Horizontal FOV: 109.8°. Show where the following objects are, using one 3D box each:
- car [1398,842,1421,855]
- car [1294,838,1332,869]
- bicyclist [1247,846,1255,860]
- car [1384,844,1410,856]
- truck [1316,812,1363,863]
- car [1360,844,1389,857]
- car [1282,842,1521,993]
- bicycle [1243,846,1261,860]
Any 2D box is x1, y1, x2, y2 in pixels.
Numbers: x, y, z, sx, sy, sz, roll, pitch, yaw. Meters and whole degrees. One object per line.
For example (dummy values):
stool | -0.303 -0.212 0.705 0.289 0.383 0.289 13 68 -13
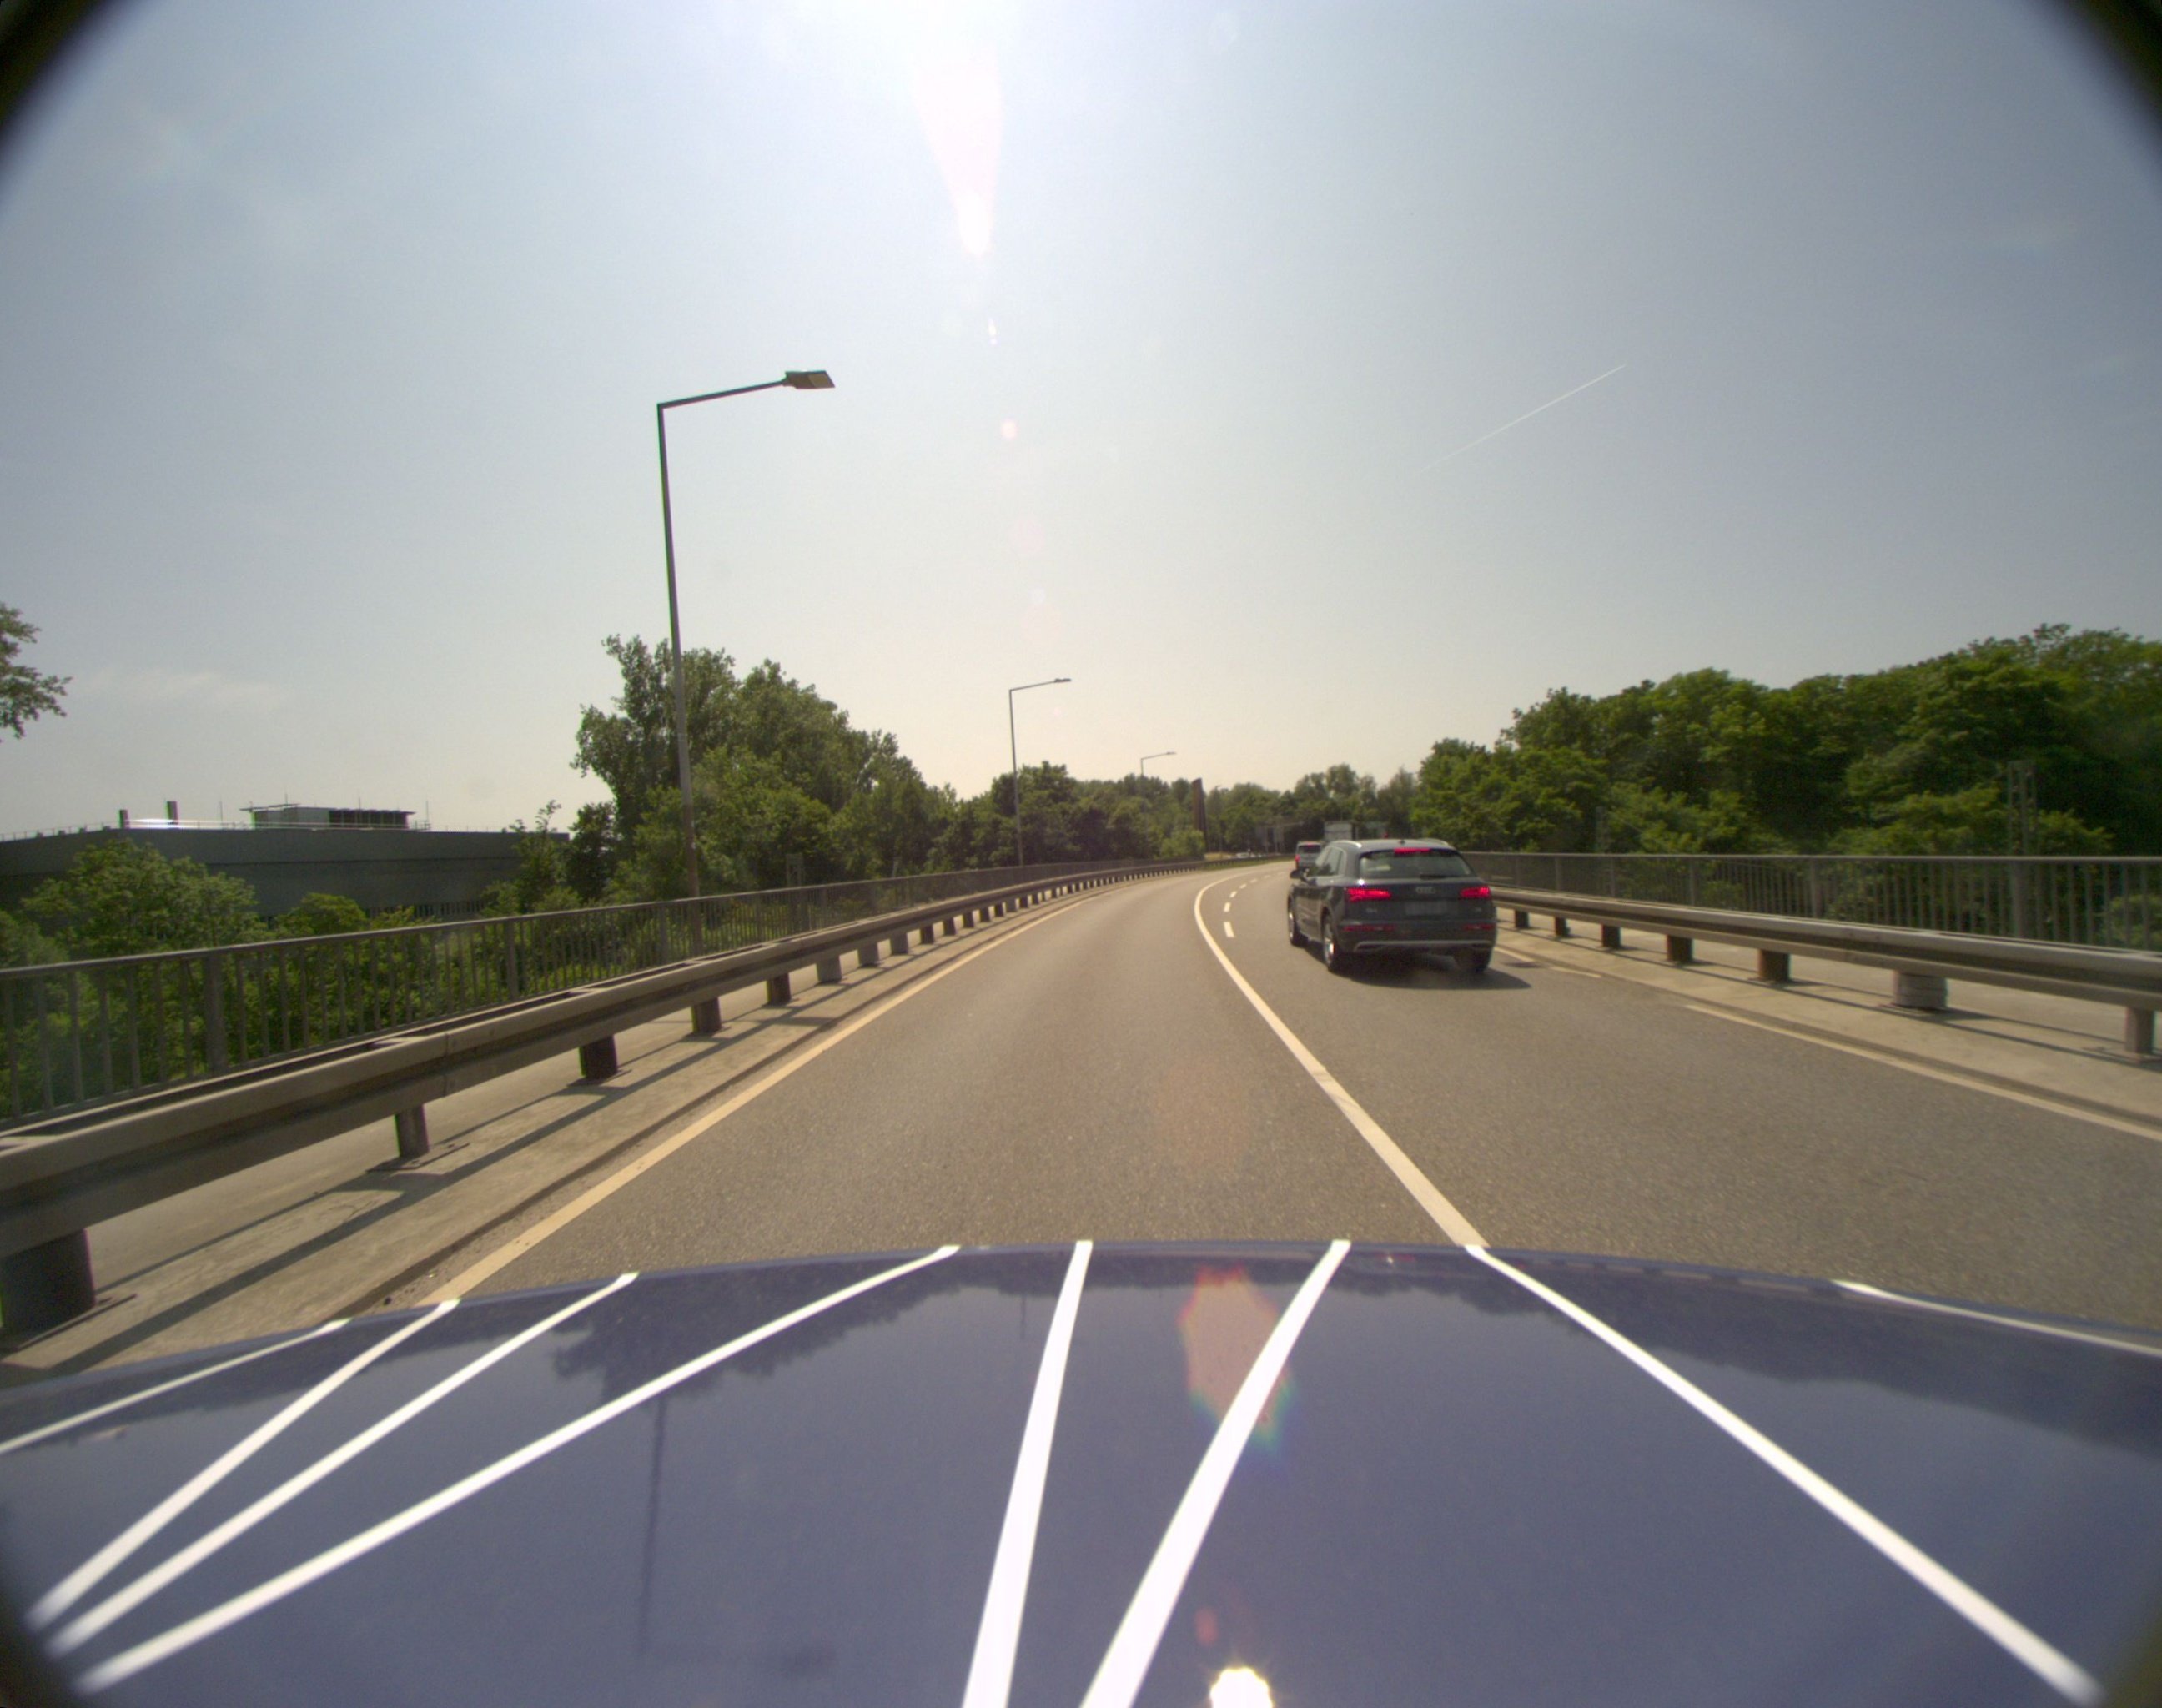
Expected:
car | 43.089 -0.720 99.670 1.828 1.629 4.587 -1 1 36
car | 15.658 -0.054 51.182 1.862 1.988 4.821 -1 0 23
bicyclist | 20.380 -0.123 91.075 0.671 1.589 0.690 -2 0 -28
car | 39.262 -0.542 94.377 1.828 1.398 4.556 -1 0 38
truck | 21.354 -1.275 62.605 2.707 3.968 6.197 0 0 28
car | 34.577 -0.394 89.395 1.828 1.398 4.897 -1 1 38
car | 4.067 0.715 10.455 1.845 1.626 4.235 -1 0 6
bicycle | 20.453 -0.152 90.914 0.657 1.564 2.369 -2 0 -27
